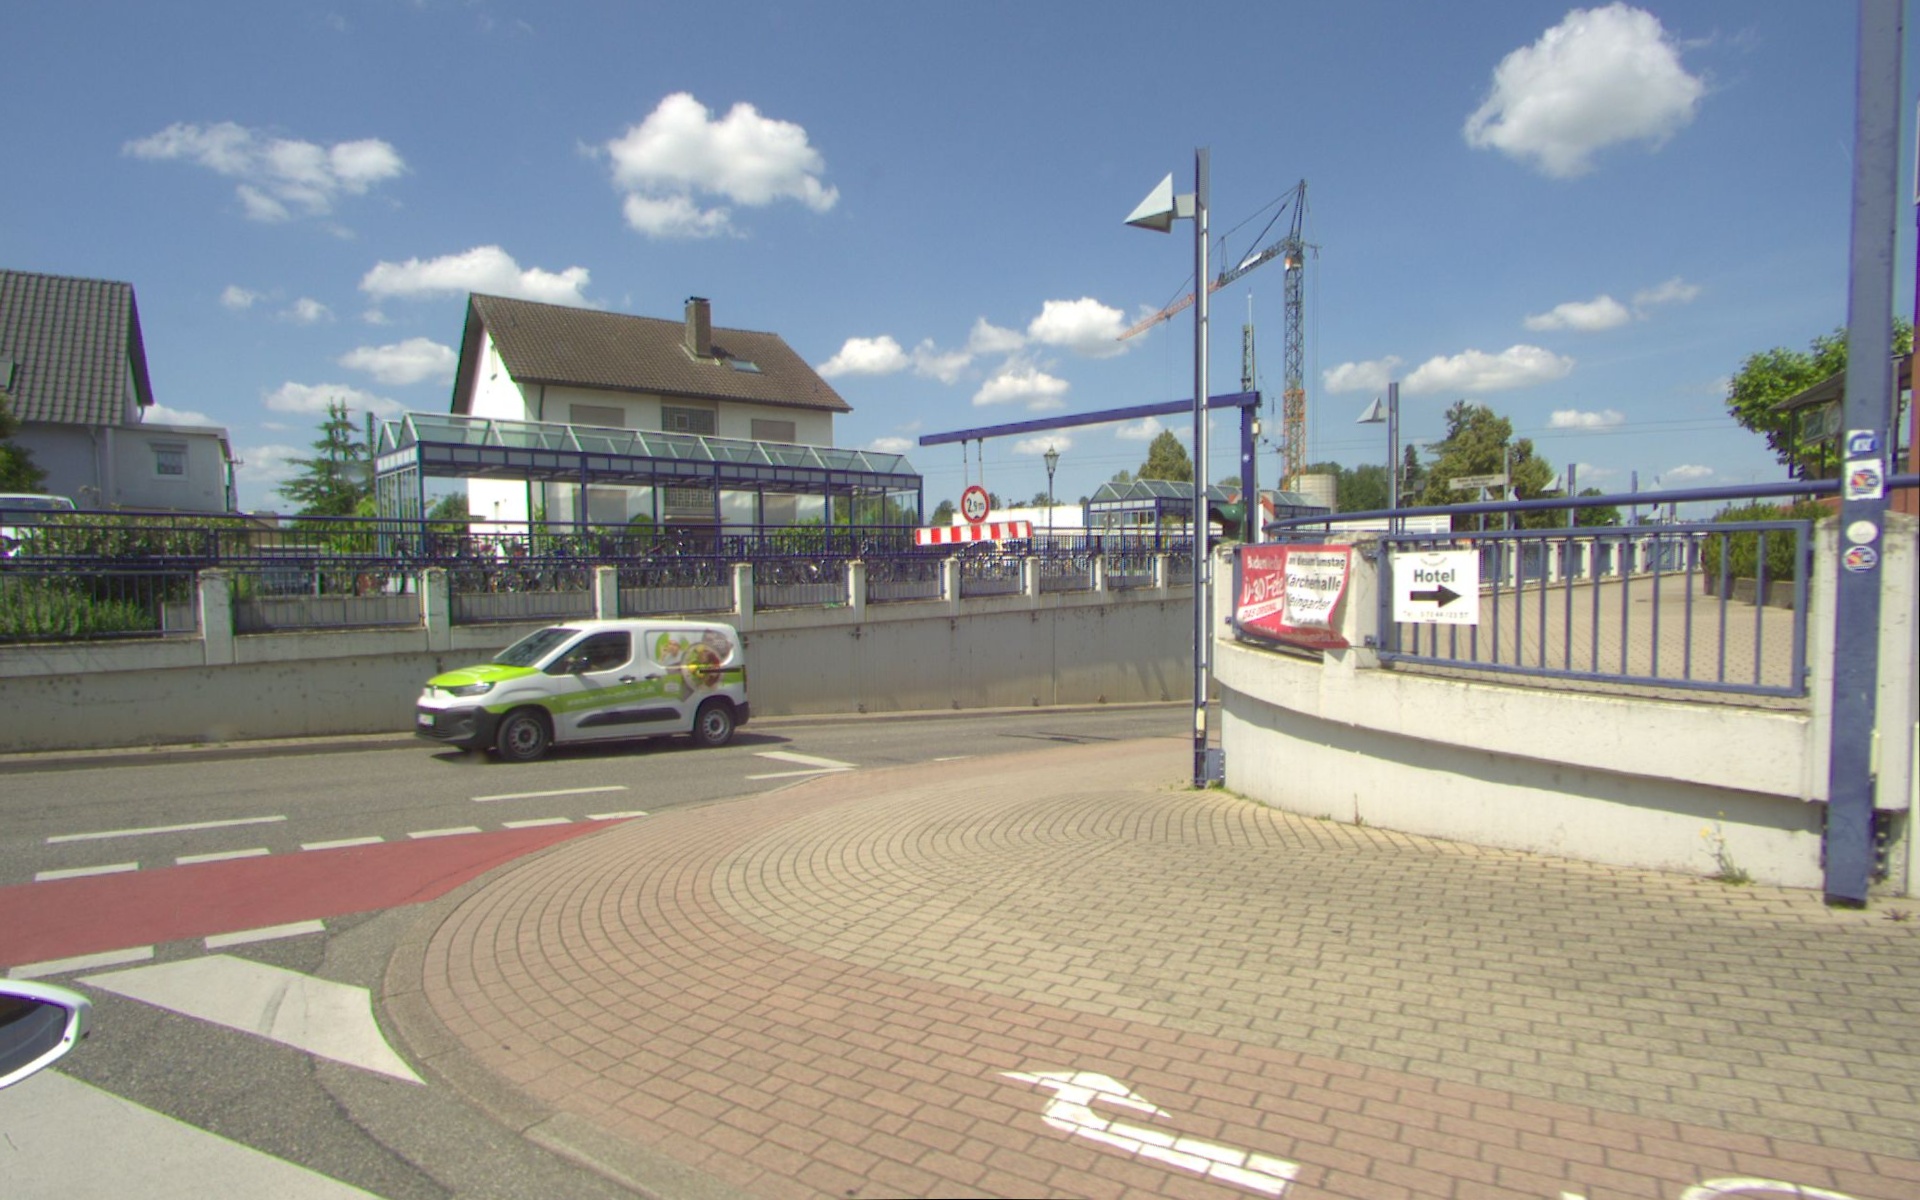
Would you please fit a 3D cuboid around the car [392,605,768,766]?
[{"bbox_3d":[-5.108,1.121,13.941,4.518,1.878,1.799,4,-3,-45],"label":"car"}]

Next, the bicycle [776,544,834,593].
[{"bbox_3d":[-3.433,-0.679,21.989,0.572,1.008,2.177,-1,2,-28],"label":"bicycle"}]

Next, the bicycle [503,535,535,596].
[{"bbox_3d":[-7.840,-0.597,17.770,0.430,1.008,2.093,-1,2,-26],"label":"bicycle"}]

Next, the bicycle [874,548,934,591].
[{"bbox_3d":[-1.372,-0.722,24.186,0.538,1.008,2.026,-1,2,-32],"label":"bicycle"}]

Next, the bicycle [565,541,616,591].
[{"bbox_3d":[-7.836,-0.700,21.188,0.422,1.008,1.949,-1,2,-39],"label":"bicycle"}]

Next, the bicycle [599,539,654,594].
[{"bbox_3d":[-6.511,-0.631,19.488,0.431,1.008,2.266,-1,2,-34],"label":"bicycle"}]

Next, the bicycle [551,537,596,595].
[{"bbox_3d":[-7.186,-0.613,18.573,0.430,1.008,2.090,-1,2,-30],"label":"bicycle"}]

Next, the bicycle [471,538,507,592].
[{"bbox_3d":[-9.193,-0.667,19.523,0.369,1.008,1.953,-1,2,-33],"label":"bicycle"}]

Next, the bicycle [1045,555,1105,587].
[{"bbox_3d":[3.639,-0.909,31.897,2.005,1.008,0.507,1,2,45],"label":"bicycle"}]

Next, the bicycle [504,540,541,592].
[{"bbox_3d":[-8.884,-0.683,20.322,0.369,1.008,1.953,-1,2,-33],"label":"bicycle"}]

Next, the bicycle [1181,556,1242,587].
[{"bbox_3d":[8.395,-0.939,33.520,2.005,1.008,0.507,1,2,45],"label":"bicycle"}]

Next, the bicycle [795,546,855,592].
[{"bbox_3d":[-3.089,-0.694,22.743,0.510,1.008,2.024,-1,2,-34],"label":"bicycle"}]

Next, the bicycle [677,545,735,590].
[{"bbox_3d":[-5.841,-0.735,22.998,0.515,1.008,1.784,-2,2,-42],"label":"bicycle"}]

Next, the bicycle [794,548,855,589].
[{"bbox_3d":[-3.403,-0.776,25.110,0.515,1.008,1.947,-2,2,-42],"label":"bicycle"}]

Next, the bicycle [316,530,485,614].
[{"bbox_3d":[-8.039,-0.399,14.483,2.100,1.141,0.330,-1,2,-44],"label":"bicycle"}]

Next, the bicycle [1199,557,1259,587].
[{"bbox_3d":[9.205,-0.954,34.302,2.005,1.008,0.507,1,2,45],"label":"bicycle"}]

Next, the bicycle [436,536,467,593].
[{"bbox_3d":[-9.619,-0.656,18.962,0.449,1.008,1.880,-1,2,-25],"label":"bicycle"}]

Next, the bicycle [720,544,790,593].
[{"bbox_3d":[-4.476,-0.674,21.713,0.528,1.008,2.169,-1,2,-40],"label":"bicycle"}]

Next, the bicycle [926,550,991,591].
[{"bbox_3d":[-0.064,-0.750,25.602,0.539,1.008,2.022,-1,2,-38],"label":"bicycle"}]

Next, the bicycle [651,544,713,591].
[{"bbox_3d":[-6.255,-0.724,22.456,0.515,1.008,1.947,-2,2,-42],"label":"bicycle"}]

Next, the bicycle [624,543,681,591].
[{"bbox_3d":[-6.763,-0.715,21.956,0.411,1.008,1.947,-2,2,-42],"label":"bicycle"}]

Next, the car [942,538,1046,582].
[{"bbox_3d":[1.368,-1.585,40.874,3.957,1.700,1.981,1,2,44],"label":"car"}]

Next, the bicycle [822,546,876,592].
[{"bbox_3d":[-2.597,-0.704,23.238,0.509,1.008,2.028,-1,2,-29],"label":"bicycle"}]

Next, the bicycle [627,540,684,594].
[{"bbox_3d":[-6.061,-0.638,19.854,0.431,1.008,2.266,-1,2,-34],"label":"bicycle"}]

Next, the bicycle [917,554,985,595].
[{"bbox_3d":[-0.250,-0.651,25.677,0.433,1.008,2.141,-2,2,-43],"label":"bicycle"}]

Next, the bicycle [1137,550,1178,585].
[{"bbox_3d":[6.765,-1.095,34.388,0.381,1.174,1.590,-1,2,-34],"label":"bicycle"}]

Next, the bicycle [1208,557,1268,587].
[{"bbox_3d":[9.583,-0.959,34.582,2.005,1.008,0.507,1,2,45],"label":"bicycle"}]

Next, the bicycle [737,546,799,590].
[{"bbox_3d":[-4.577,-0.750,23.793,0.515,1.008,1.947,-2,2,-42],"label":"bicycle"}]

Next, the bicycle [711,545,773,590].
[{"bbox_3d":[-5.067,-0.740,23.245,0.515,1.008,1.947,-2,2,-42],"label":"bicycle"}]

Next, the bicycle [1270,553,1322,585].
[{"bbox_3d":[12.755,-1.164,38.047,0.507,1.174,1.804,-2,2,-44],"label":"bicycle"}]

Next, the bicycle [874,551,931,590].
[{"bbox_3d":[-1.548,-0.771,26.612,0.538,1.008,2.024,-1,2,-36],"label":"bicycle"}]

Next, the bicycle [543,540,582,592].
[{"bbox_3d":[-8.215,-0.689,20.652,0.369,1.008,1.953,-1,2,-33],"label":"bicycle"}]

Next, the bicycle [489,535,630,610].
[{"bbox_3d":[-6.378,-0.429,16.062,2.100,1.141,0.388,-1,2,-44],"label":"bicycle"}]

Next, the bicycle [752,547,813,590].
[{"bbox_3d":[-4.333,-0.762,24.361,0.515,1.008,1.947,-2,2,-42],"label":"bicycle"}]

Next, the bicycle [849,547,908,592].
[{"bbox_3d":[-1.949,-0.711,23.610,0.510,1.008,2.026,-1,2,-32],"label":"bicycle"}]

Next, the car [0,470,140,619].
[{"bbox_3d":[-13.233,-0.679,14.382,1.976,1.819,4.166,3,-3,-36],"label":"car"}]

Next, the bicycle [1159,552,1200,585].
[{"bbox_3d":[7.860,-1.124,35.882,0.381,1.174,1.590,-1,2,-34],"label":"bicycle"}]

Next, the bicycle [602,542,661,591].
[{"bbox_3d":[-7.123,-0.709,21.648,0.470,1.008,1.947,-2,2,-42],"label":"bicycle"}]

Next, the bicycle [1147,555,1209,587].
[{"bbox_3d":[7.052,-0.919,32.491,2.005,1.008,0.507,1,2,45],"label":"bicycle"}]

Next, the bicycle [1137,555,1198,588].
[{"bbox_3d":[6.632,-0.910,32.041,2.005,1.008,0.433,1,2,45],"label":"bicycle"}]

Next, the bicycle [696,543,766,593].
[{"bbox_3d":[-4.838,-0.662,21.084,0.528,1.008,2.169,-1,2,-40],"label":"bicycle"}]

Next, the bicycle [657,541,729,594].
[{"bbox_3d":[-5.432,-0.646,20.289,0.528,1.008,2.261,-1,2,-40],"label":"bicycle"}]

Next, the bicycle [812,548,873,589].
[{"bbox_3d":[-2.998,-0.783,25.479,0.515,1.008,1.947,-2,2,-42],"label":"bicycle"}]

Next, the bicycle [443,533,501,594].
[{"bbox_3d":[-8.624,-0.629,17.661,0.329,1.008,2.055,-2,2,-43],"label":"bicycle"}]
